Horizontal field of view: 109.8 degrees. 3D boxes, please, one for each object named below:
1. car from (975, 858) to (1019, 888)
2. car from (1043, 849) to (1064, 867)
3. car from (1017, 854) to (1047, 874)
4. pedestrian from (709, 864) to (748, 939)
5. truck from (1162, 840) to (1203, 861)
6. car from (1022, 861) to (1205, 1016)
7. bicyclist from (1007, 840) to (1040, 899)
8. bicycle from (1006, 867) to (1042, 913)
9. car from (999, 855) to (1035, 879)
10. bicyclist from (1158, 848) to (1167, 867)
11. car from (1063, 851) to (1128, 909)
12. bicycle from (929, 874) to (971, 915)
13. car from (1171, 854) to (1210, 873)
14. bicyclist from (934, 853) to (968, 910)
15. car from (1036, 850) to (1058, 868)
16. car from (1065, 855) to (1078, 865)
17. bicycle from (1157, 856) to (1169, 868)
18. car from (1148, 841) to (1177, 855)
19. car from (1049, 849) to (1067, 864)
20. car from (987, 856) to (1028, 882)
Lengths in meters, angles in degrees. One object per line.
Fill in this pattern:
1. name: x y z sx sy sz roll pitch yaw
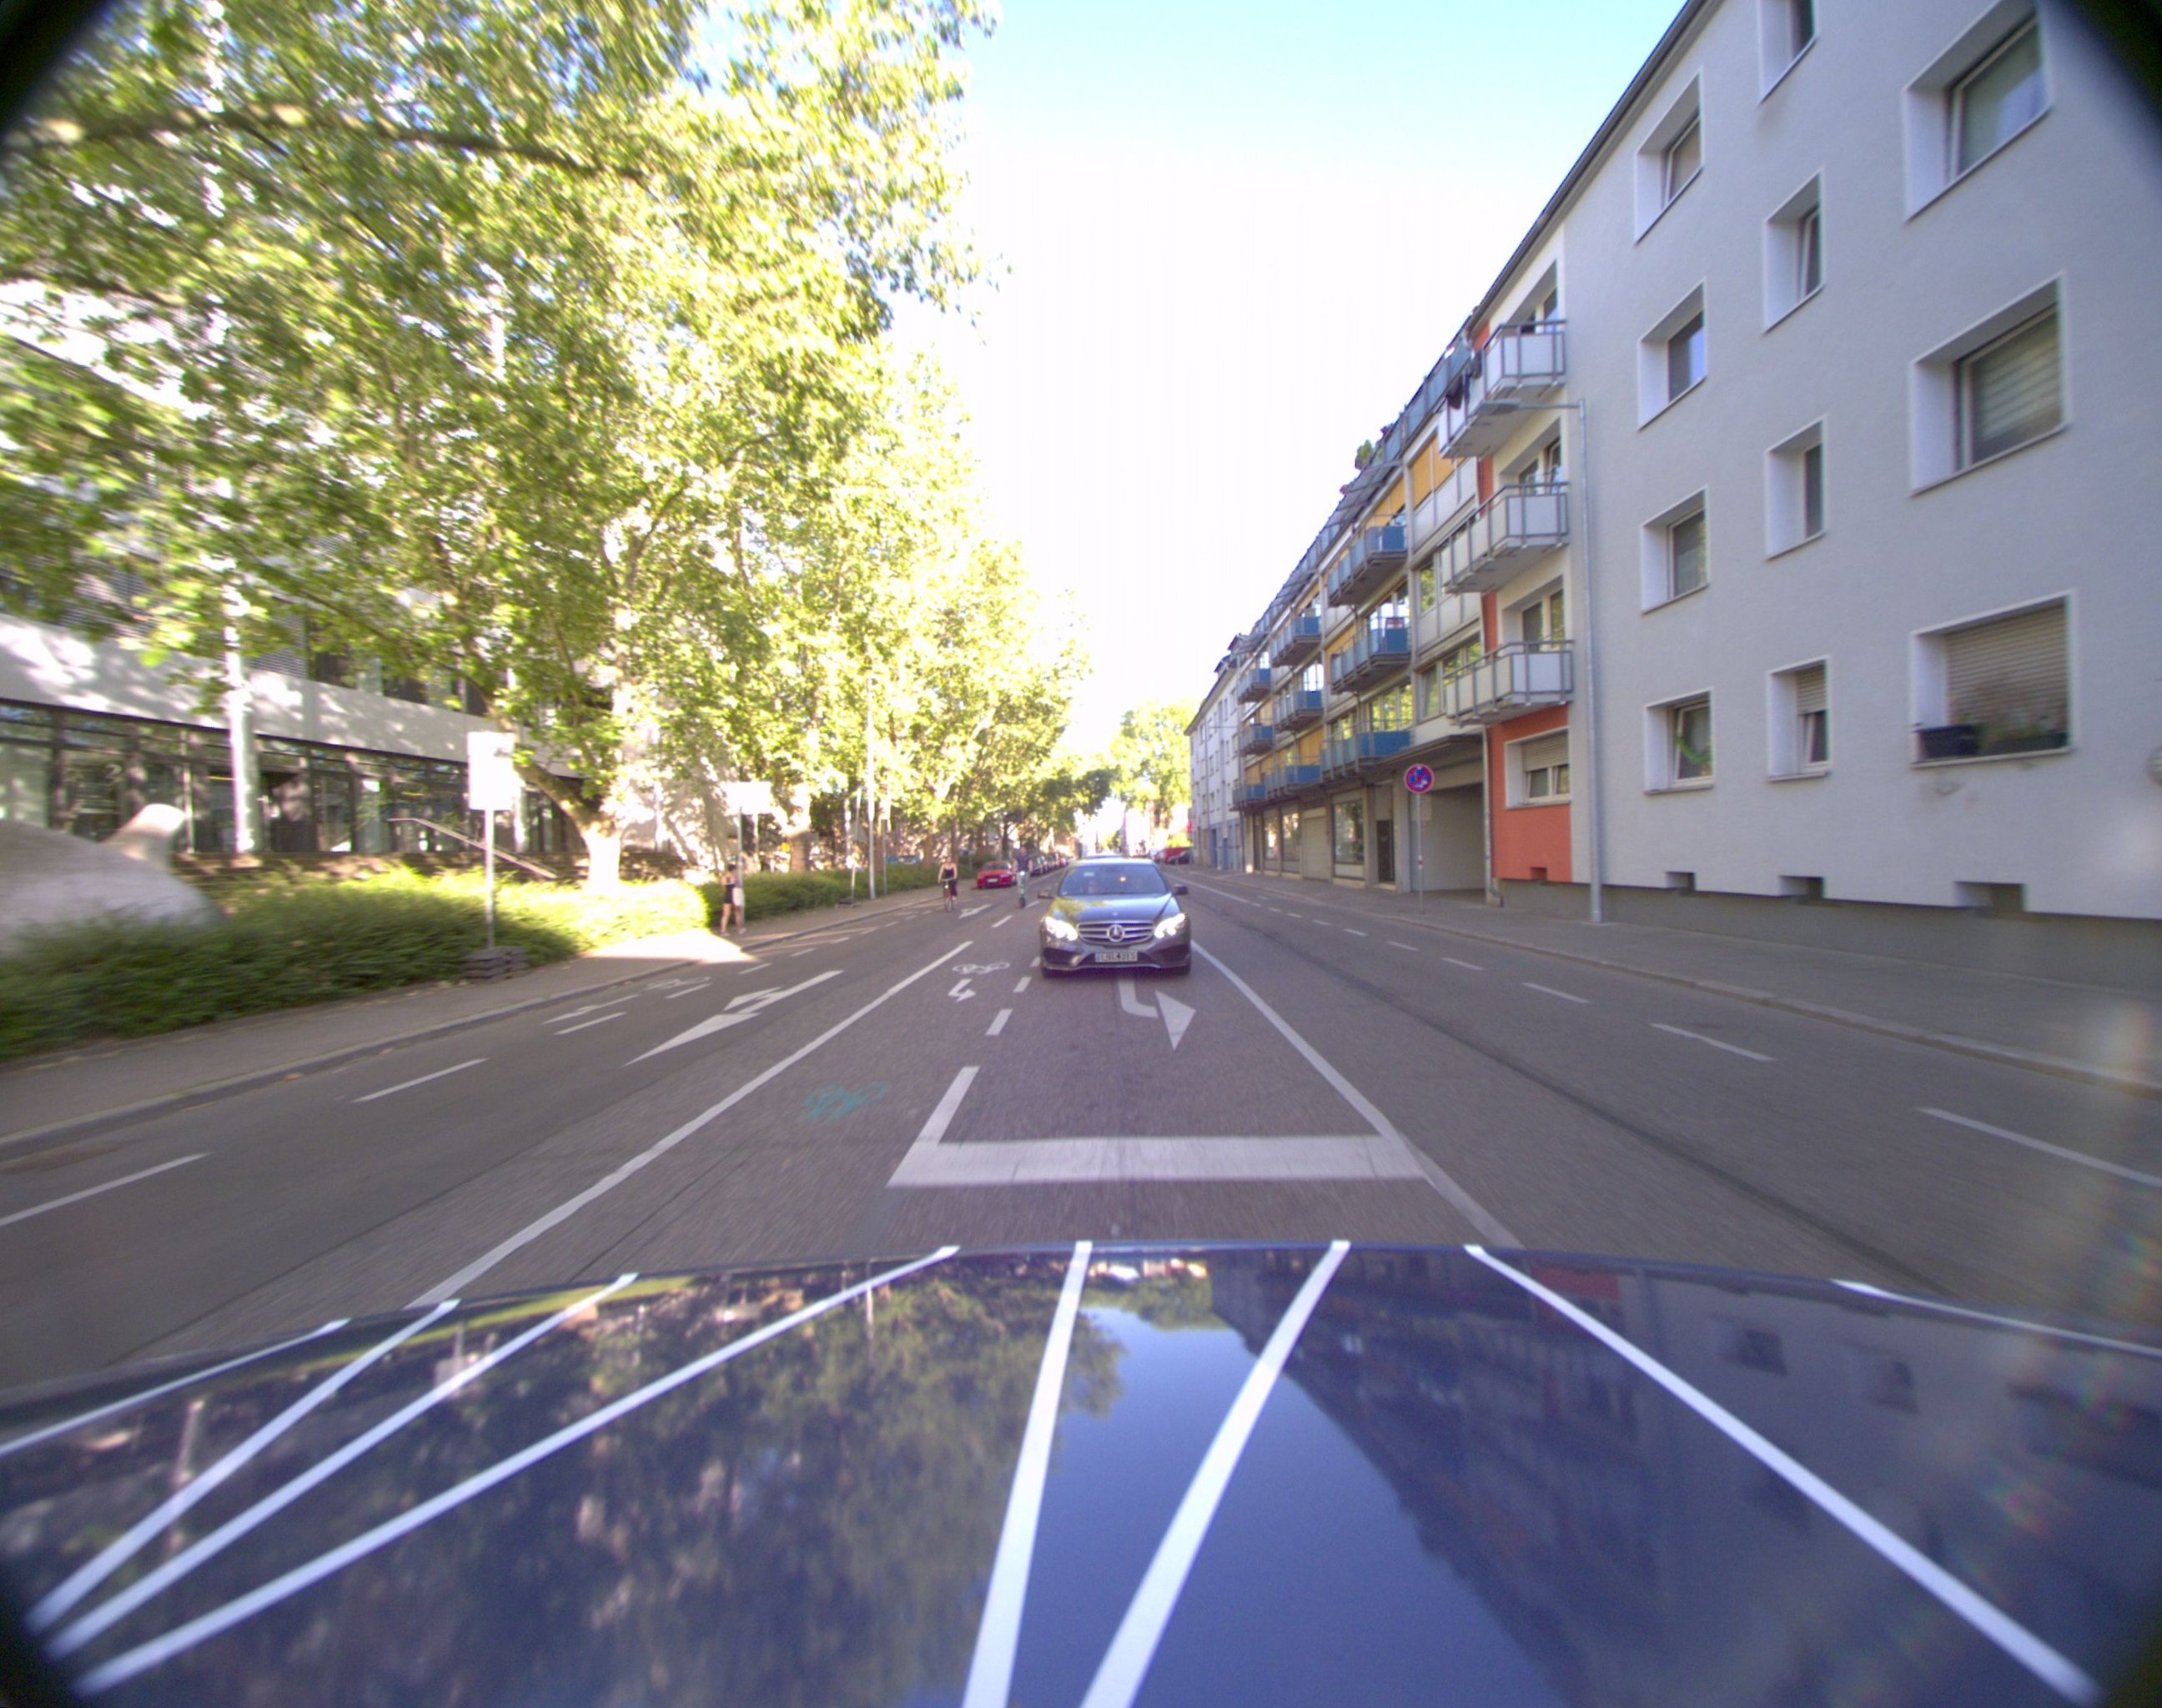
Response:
1. car: -4.485 0.971 41.209 1.898 1.435 4.076 -2 0 0
2. car: -3.020 0.430 83.038 1.898 1.841 4.077 -2 0 2
3. car: -3.902 0.784 60.812 1.898 1.443 4.077 -2 0 2
4. pedestrian: -7.726 1.021 16.659 0.462 1.585 0.682 -2 1 0
5. truck: 11.635 -0.418 87.569 4.403 2.146 1.877 -2 1 0
6. car: 0.691 0.882 10.238 1.797 1.460 4.722 0 1 11
7. bicyclist: -1.753 0.470 23.327 0.770 1.723 0.901 -5 1 0
8. bicycle: -1.709 1.064 23.205 0.770 1.129 2.814 -4 2 0
9. car: -4.283 0.858 51.429 1.898 1.443 4.077 -2 0 2
10. bicyclist: 6.979 0.320 64.851 0.692 1.621 0.758 -1 1 0
11. car: 0.540 0.750 24.136 1.746 1.594 4.001 -2 1 5
12. bicycle: -4.020 1.213 23.505 0.770 1.129 2.816 -2 -1 0
13. car: 11.847 1.057 82.314 3.997 1.825 1.830 -2 1 0
14. bicyclist: -4.041 0.844 23.680 0.770 1.670 0.895 -4 1 0
15. car: -3.447 0.498 78.289 1.898 1.642 4.077 -2 0 2
16. car: -1.486 0.935 120.134 1.898 1.542 4.077 -2 0 2
17. bicycle: 6.987 0.659 64.815 0.692 0.980 2.631 -1 1 0
18. car: 12.086 -0.891 112.810 3.997 2.002 1.999 -2 1 0
19. car: -2.832 0.275 94.026 1.898 1.807 4.077 -2 0 2
20. car: -4.373 0.877 45.927 1.898 1.439 4.077 -2 0 2
